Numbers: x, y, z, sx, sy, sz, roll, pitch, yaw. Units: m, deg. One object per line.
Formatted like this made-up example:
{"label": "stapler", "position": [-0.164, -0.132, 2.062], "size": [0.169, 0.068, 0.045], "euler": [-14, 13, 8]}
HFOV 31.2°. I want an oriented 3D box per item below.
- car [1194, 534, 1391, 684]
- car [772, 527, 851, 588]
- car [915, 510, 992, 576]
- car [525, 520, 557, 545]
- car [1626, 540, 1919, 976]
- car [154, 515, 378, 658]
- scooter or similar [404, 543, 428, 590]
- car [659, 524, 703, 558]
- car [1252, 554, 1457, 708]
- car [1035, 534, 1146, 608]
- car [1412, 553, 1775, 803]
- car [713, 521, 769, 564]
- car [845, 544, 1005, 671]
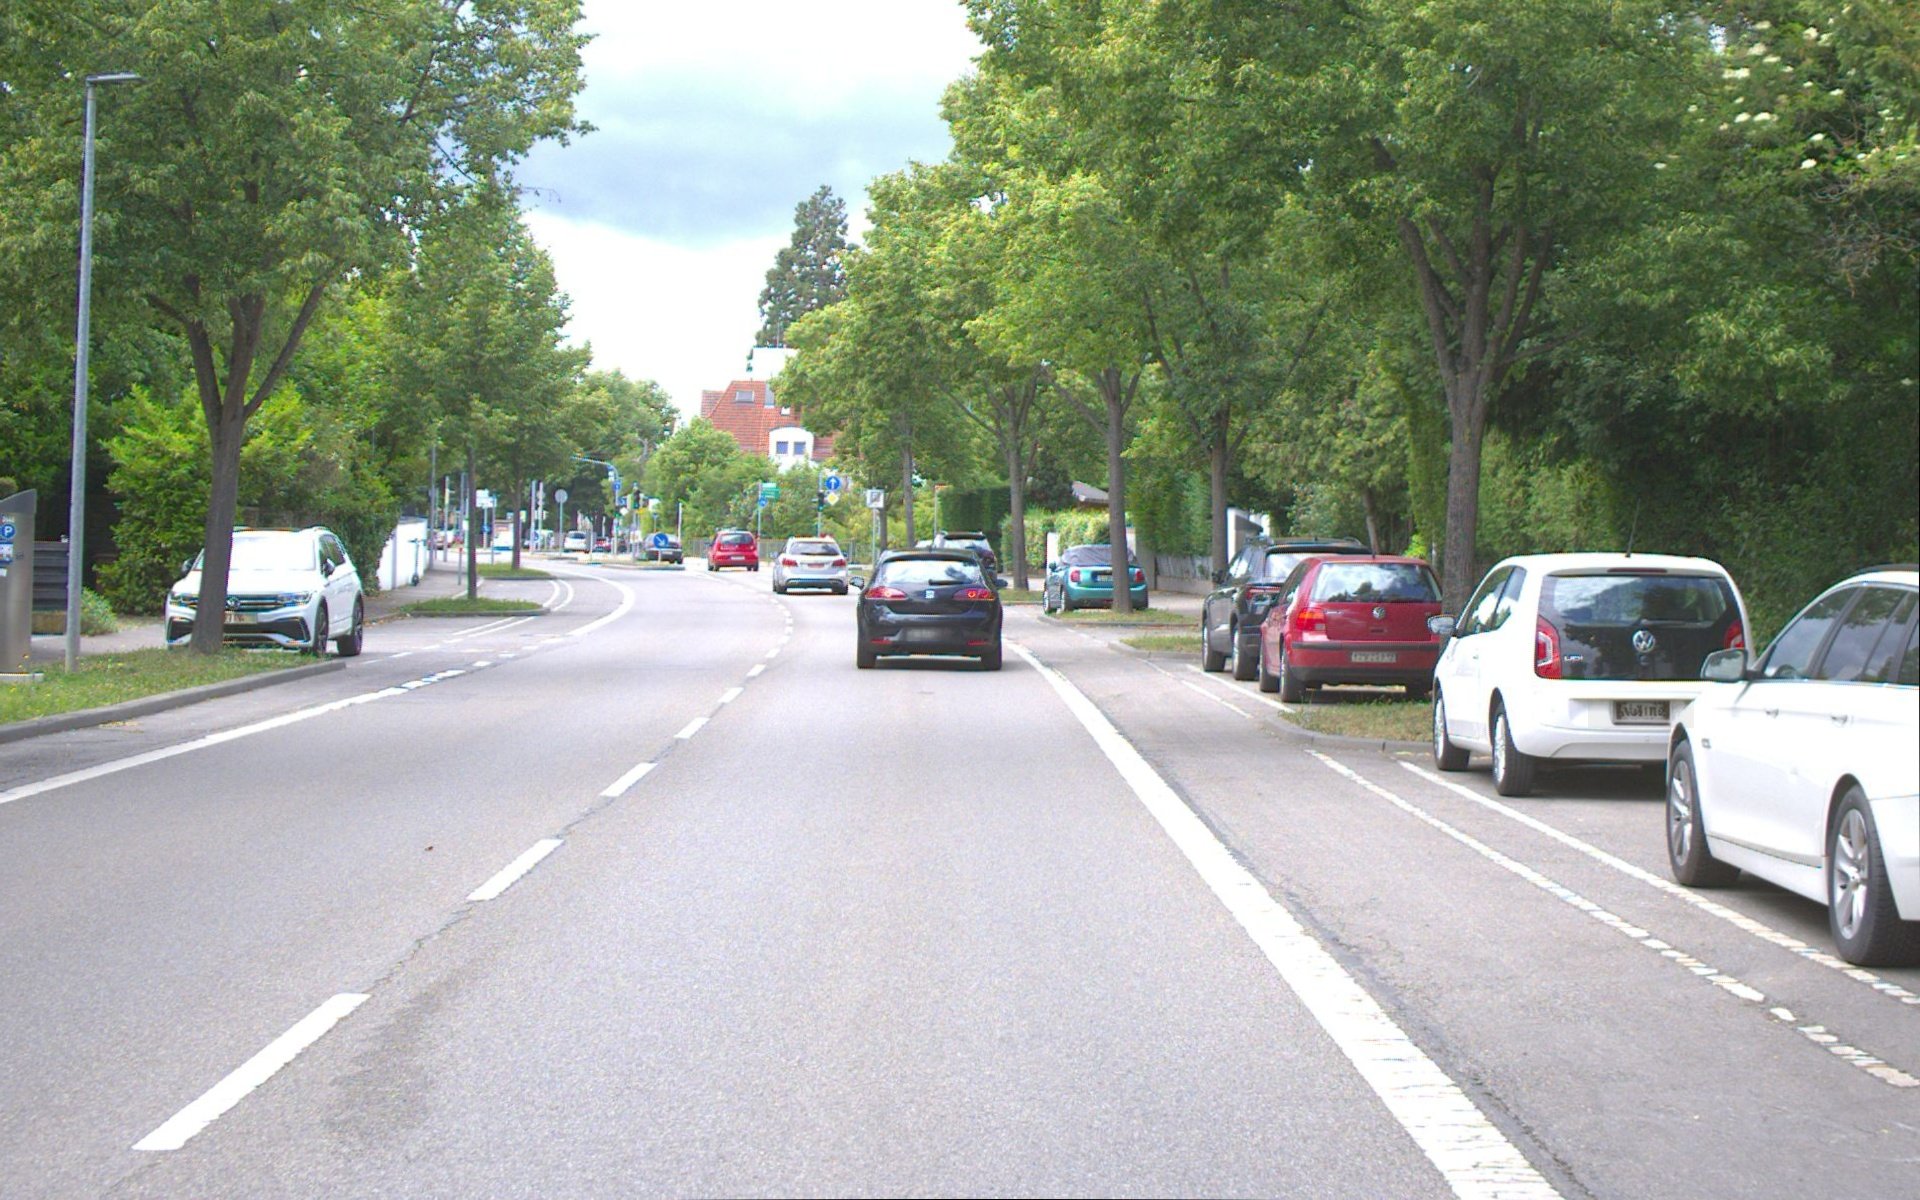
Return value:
{"label": "car", "position": [3.772, 0.062, 39.618], "size": [1.638, 1.610, 4.170], "euler": [1, 1, -3]}
{"label": "car", "position": [-3.898, -1.090, 90.173], "size": [1.993, 1.552, 4.000], "euler": [0, 0, -3]}
{"label": "car", "position": [-0.203, -1.595, 96.553], "size": [1.788, 1.765, 3.983], "euler": [1, 1, -5]}
{"label": "car", "position": [-29.376, -4.744, 241.302], "size": [1.973, 1.670, 3.877], "euler": [1, 1, -4]}
{"label": "car", "position": [4.196, 0.501, 13.839], "size": [2.021, 1.438, 5.025], "euler": [1, 1, 0]}
{"label": "car", "position": [-8.639, -0.207, 43.177], "size": [1.873, 1.682, 4.866], "euler": [0, 1, -1]}
{"label": "scooter or similar", "position": [-13.458, -0.837, 85.113], "size": [0.501, 1.150, 1.301], "euler": [1, 1, -6]}
{"label": "car", "position": [-13.036, -2.736, 160.563], "size": [1.993, 1.503, 4.001], "euler": [1, 0, -5]}
{"label": "car", "position": [3.858, 0.261, 34.142], "size": [1.638, 1.415, 4.000], "euler": [1, 1, 1]}
{"label": "car", "position": [2.593, -0.606, 69.143], "size": [1.683, 1.427, 4.045], "euler": [1, 1, -6]}
{"label": "car", "position": [3.999, 0.441, 22.218], "size": [1.615, 1.455, 3.657], "euler": [0, 1, -1]}
{"label": "car", "position": [-7.974, -2.103, 125.566], "size": [1.993, 1.525, 4.001], "euler": [1, 1, -3]}
{"label": "car", "position": [-0.461, 0.062, 41.556], "size": [1.783, 1.444, 3.558], "euler": [1, 1, -3]}
